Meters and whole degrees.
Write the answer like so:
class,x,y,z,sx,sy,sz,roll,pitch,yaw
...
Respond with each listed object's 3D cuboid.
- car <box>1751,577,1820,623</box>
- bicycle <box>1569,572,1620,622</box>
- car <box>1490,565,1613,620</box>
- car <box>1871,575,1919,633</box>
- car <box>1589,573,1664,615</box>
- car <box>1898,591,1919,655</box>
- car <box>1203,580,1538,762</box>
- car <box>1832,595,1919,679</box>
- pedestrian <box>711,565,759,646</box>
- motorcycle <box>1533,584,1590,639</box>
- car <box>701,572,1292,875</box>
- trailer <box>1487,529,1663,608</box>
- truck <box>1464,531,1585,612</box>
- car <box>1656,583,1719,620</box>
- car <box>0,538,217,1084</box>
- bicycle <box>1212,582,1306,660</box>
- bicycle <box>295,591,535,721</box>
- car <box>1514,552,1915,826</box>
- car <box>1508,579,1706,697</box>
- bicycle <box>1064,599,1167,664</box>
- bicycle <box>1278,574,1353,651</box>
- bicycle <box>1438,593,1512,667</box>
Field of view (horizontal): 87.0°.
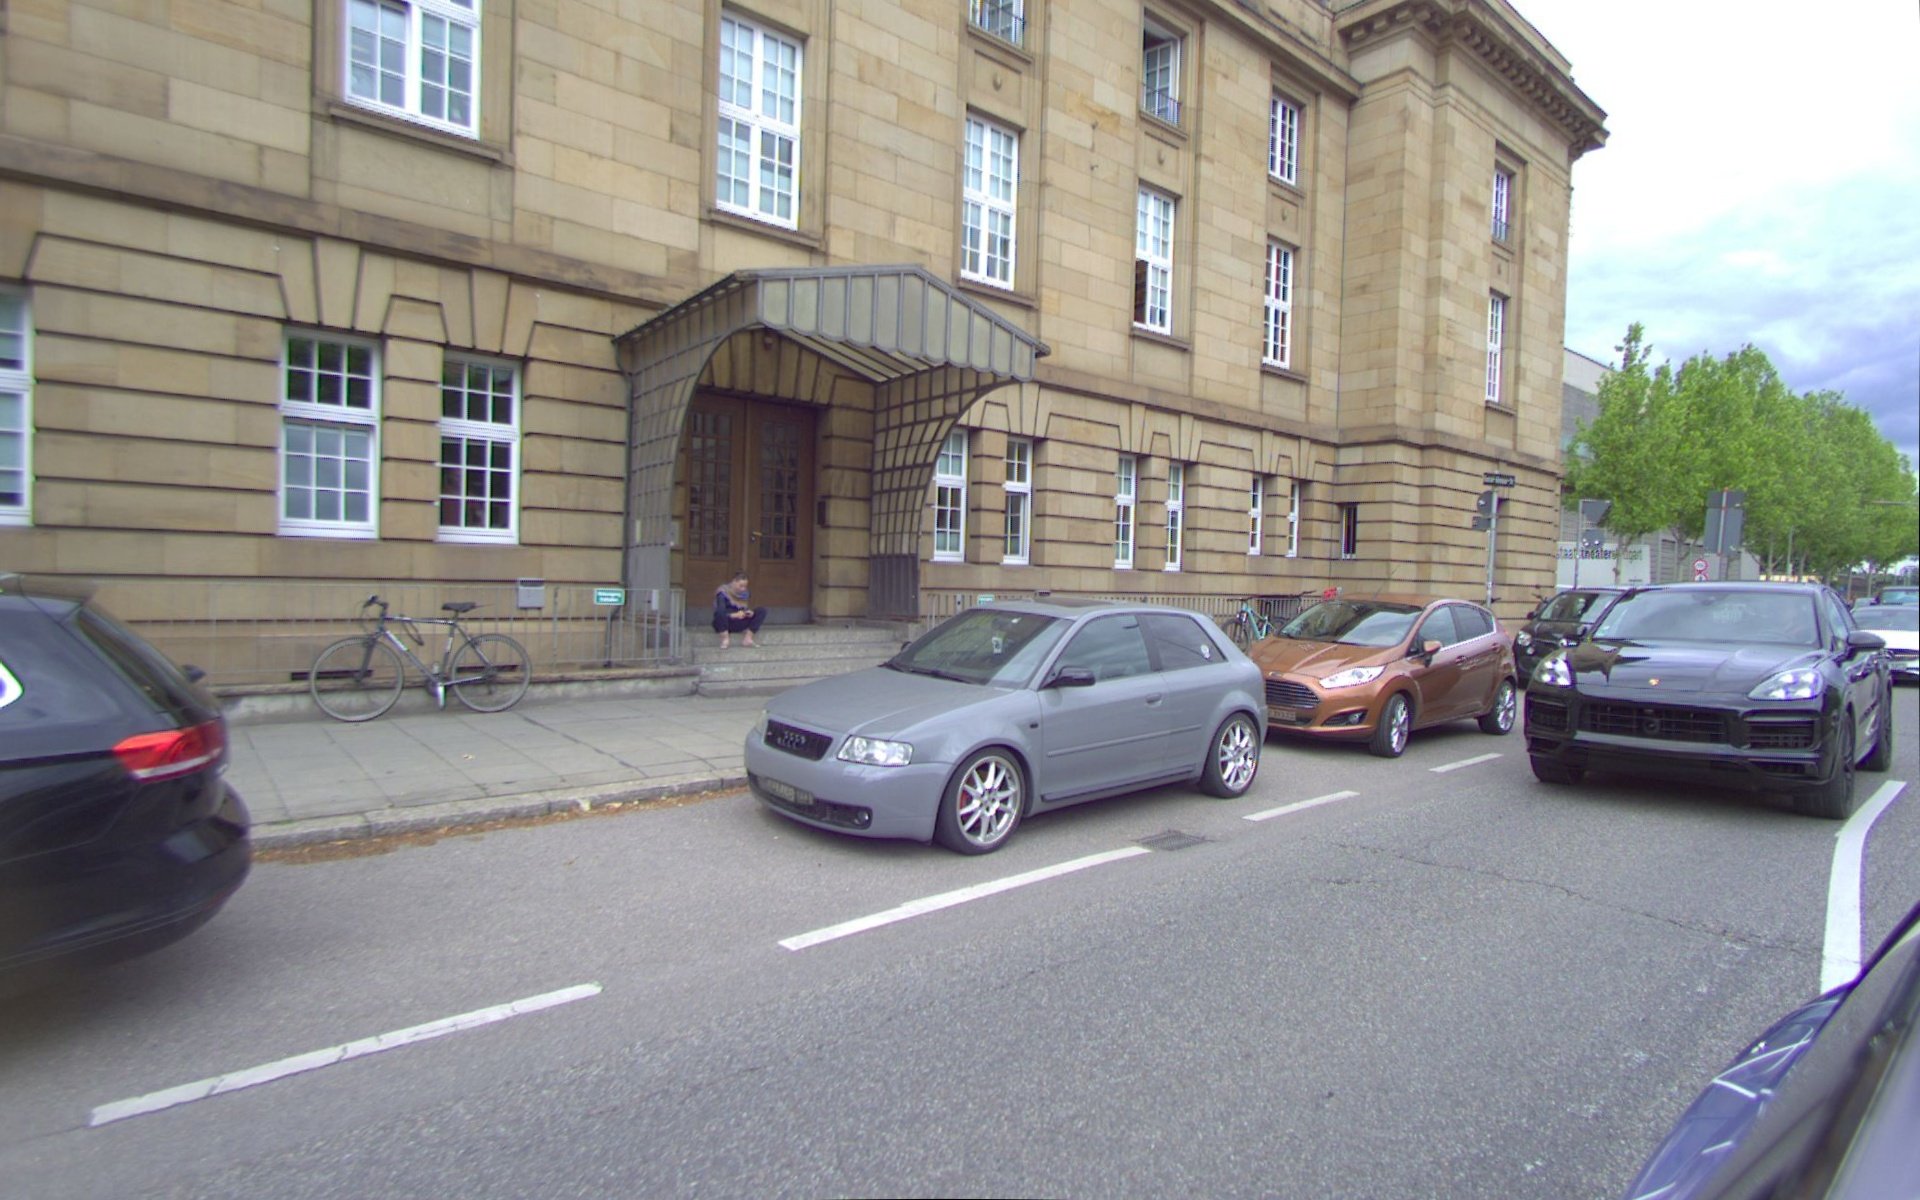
class,x,y,z,sx,sy,sz,roll,pitch,yaw
car,33.446,0.006,40.958,1.805,1.760,4.414,1,0,44
bicycle,16.914,-0.086,26.968,1.930,1.239,0.610,0,4,-44
car,17.155,-0.206,29.266,4.496,1.487,1.781,0,0,-42
car,33.761,0.121,35.605,4.321,1.949,1.952,0,2,-40
car,30.429,-0.268,46.183,4.543,1.806,1.806,-1,-1,-43
car,24.190,0.556,24.815,1.607,1.491,3.568,2,2,41
car,4.308,0.570,10.373,3.791,1.473,1.619,0,3,-41
car,17.566,0.635,18.877,1.928,1.393,3.940,1,1,41
pedestrian,-2.535,0.061,11.391,0.366,0.884,0.430,-1,0,-39
motorcycle,14.427,0.253,24.250,1.887,1.257,0.456,0,2,-37
car,0.435,0.577,6.914,3.928,1.443,1.712,0,3,-42
trailer,35.698,-1.729,58.409,13.703,4.153,3.159,-1,0,-34
truck,30.663,-1.538,54.943,6.446,4.135,3.143,-1,1,-34
car,31.825,0.056,44.263,3.444,1.549,1.582,-1,1,-43
car,-4.451,0.576,2.336,4.253,1.504,1.791,-1,4,-43
bicycle,5.031,0.332,16.956,1.882,1.232,0.556,0,2,-41
bicycle,-4.659,0.444,8.770,1.827,1.042,0.222,0,0,-41
car,6.318,0.533,8.293,4.129,1.678,1.905,0,0,-42
car,10.048,0.512,15.630,3.643,1.571,1.549,0,2,-41
bicycle,2.254,0.427,14.516,1.844,0.855,0.307,-1,0,-39
bicycle,6.317,0.200,17.963,1.759,1.304,0.413,0,1,-41
bicycle,8.575,0.470,16.827,1.799,1.171,0.460,0,2,-42
